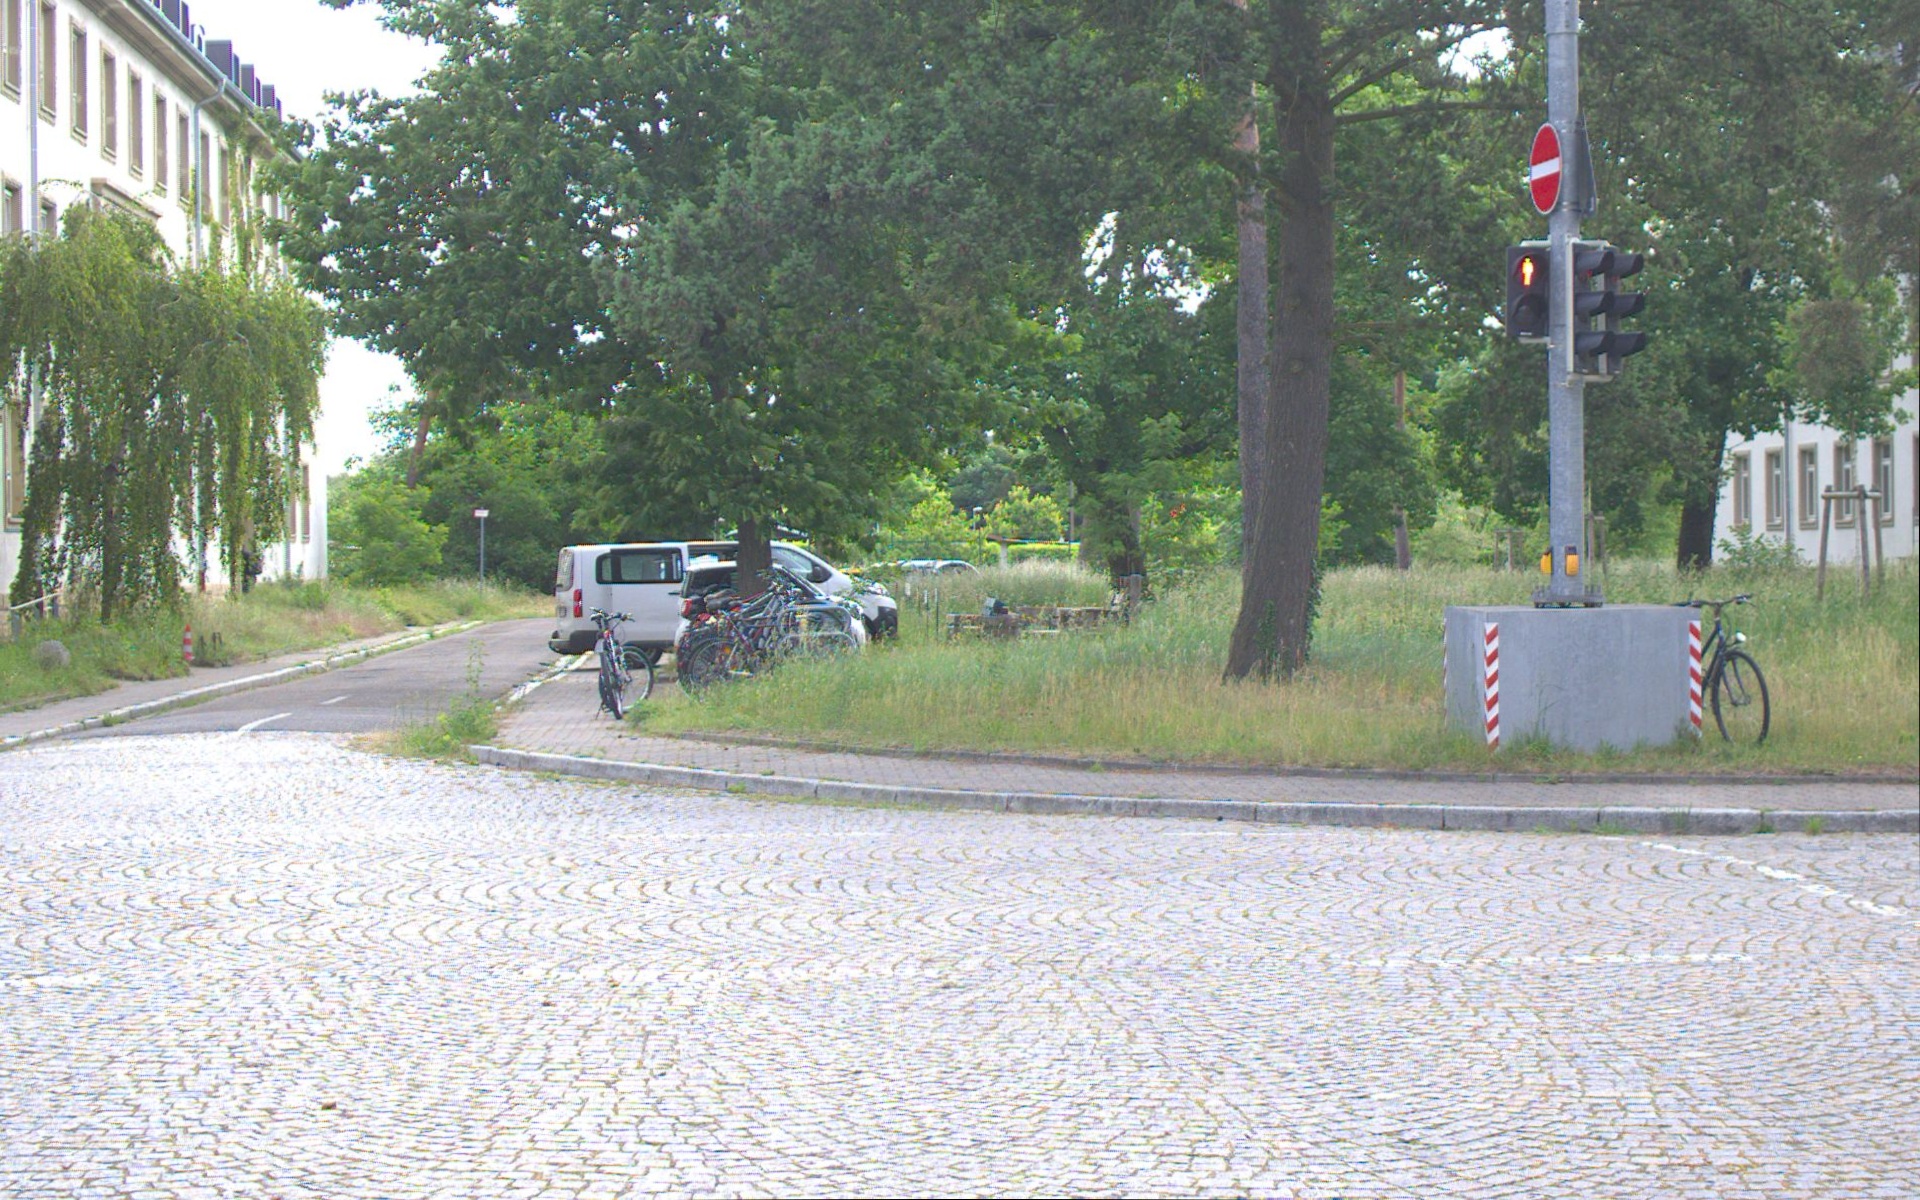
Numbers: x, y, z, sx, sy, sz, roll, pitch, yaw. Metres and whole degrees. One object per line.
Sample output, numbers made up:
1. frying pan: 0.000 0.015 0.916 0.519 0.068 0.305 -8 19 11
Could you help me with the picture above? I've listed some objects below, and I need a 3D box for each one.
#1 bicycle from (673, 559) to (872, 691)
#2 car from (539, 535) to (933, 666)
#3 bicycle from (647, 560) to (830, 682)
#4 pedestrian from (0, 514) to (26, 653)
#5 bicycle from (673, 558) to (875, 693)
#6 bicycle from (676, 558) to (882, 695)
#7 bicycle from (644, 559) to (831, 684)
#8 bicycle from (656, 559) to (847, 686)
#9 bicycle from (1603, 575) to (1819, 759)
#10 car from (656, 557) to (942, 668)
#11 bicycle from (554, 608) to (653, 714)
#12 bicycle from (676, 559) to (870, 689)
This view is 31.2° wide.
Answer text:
1. bicycle: -1.975 0.256 36.326 2.069 1.373 0.620 0 1 -3
2. car: -3.458 -0.017 52.866 5.690 1.904 2.231 -1 1 -15
3. bicycle: -2.529 0.232 39.382 2.069 1.373 0.620 0 1 -3
4. pedestrian: -14.262 -0.238 49.890 1.087 2.007 1.021 0 1 2
5. bicycle: -1.931 0.259 35.702 2.069 1.373 0.620 0 1 -3
6. bicycle: -1.844 0.264 35.035 2.069 1.373 0.620 0 1 -3
7. bicycle: -2.495 0.235 38.635 2.069 1.373 0.620 0 1 -3
8. bicycle: -2.296 0.241 37.906 2.069 1.373 0.620 0 1 -3
9. bicycle: 5.021 0.425 23.110 0.908 1.173 1.874 0 1 -4
10. car: -2.348 0.162 49.551 3.931 1.539 2.000 -1 1 -8
11. bicycle: -3.421 0.570 33.155 0.618 0.960 2.076 0 1 3
12. bicycle: -2.018 0.252 37.121 2.069 1.373 0.620 0 1 -3
